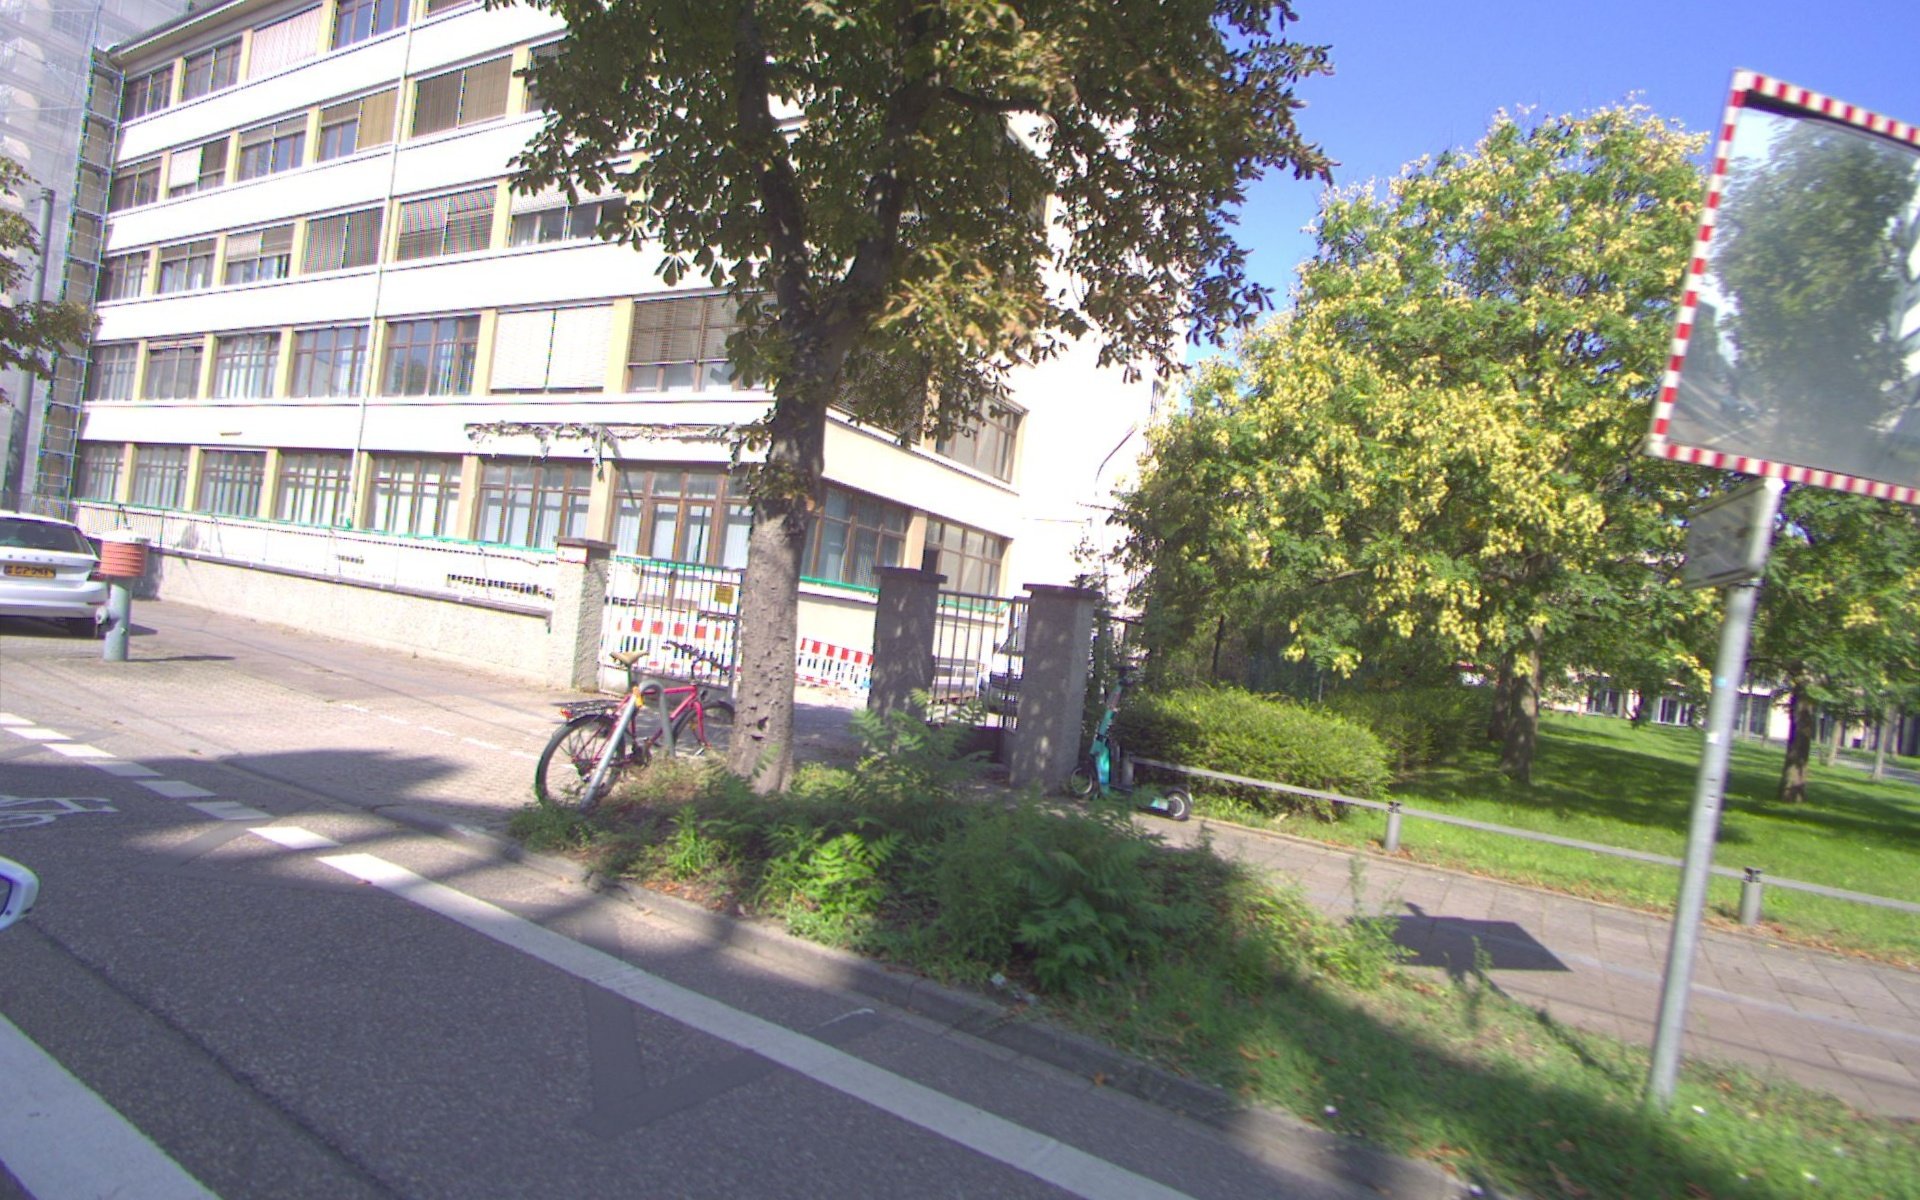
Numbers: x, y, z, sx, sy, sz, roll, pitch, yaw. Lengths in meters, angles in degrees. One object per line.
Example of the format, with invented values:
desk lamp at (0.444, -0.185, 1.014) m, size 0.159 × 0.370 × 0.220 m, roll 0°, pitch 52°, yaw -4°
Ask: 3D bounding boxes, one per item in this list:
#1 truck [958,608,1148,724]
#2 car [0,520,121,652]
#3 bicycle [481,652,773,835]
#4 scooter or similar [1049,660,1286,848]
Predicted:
truck at (2.469, 1.724, 24.941) m, size 2.261 × 2.352 × 5.517 m, roll 6°, pitch -2°, yaw 32°
car at (-12.792, -0.324, 12.997) m, size 4.147 × 1.499 × 1.662 m, roll 6°, pitch -1°, yaw 31°
bicycle at (-2.084, 0.903, 6.577) m, size 0.548 × 0.969 × 1.816 m, roll 6°, pitch -2°, yaw 30°
scooter or similar at (1.749, 1.262, 8.615) m, size 1.788 × 1.274 × 0.557 m, roll 6°, pitch -1°, yaw 33°
